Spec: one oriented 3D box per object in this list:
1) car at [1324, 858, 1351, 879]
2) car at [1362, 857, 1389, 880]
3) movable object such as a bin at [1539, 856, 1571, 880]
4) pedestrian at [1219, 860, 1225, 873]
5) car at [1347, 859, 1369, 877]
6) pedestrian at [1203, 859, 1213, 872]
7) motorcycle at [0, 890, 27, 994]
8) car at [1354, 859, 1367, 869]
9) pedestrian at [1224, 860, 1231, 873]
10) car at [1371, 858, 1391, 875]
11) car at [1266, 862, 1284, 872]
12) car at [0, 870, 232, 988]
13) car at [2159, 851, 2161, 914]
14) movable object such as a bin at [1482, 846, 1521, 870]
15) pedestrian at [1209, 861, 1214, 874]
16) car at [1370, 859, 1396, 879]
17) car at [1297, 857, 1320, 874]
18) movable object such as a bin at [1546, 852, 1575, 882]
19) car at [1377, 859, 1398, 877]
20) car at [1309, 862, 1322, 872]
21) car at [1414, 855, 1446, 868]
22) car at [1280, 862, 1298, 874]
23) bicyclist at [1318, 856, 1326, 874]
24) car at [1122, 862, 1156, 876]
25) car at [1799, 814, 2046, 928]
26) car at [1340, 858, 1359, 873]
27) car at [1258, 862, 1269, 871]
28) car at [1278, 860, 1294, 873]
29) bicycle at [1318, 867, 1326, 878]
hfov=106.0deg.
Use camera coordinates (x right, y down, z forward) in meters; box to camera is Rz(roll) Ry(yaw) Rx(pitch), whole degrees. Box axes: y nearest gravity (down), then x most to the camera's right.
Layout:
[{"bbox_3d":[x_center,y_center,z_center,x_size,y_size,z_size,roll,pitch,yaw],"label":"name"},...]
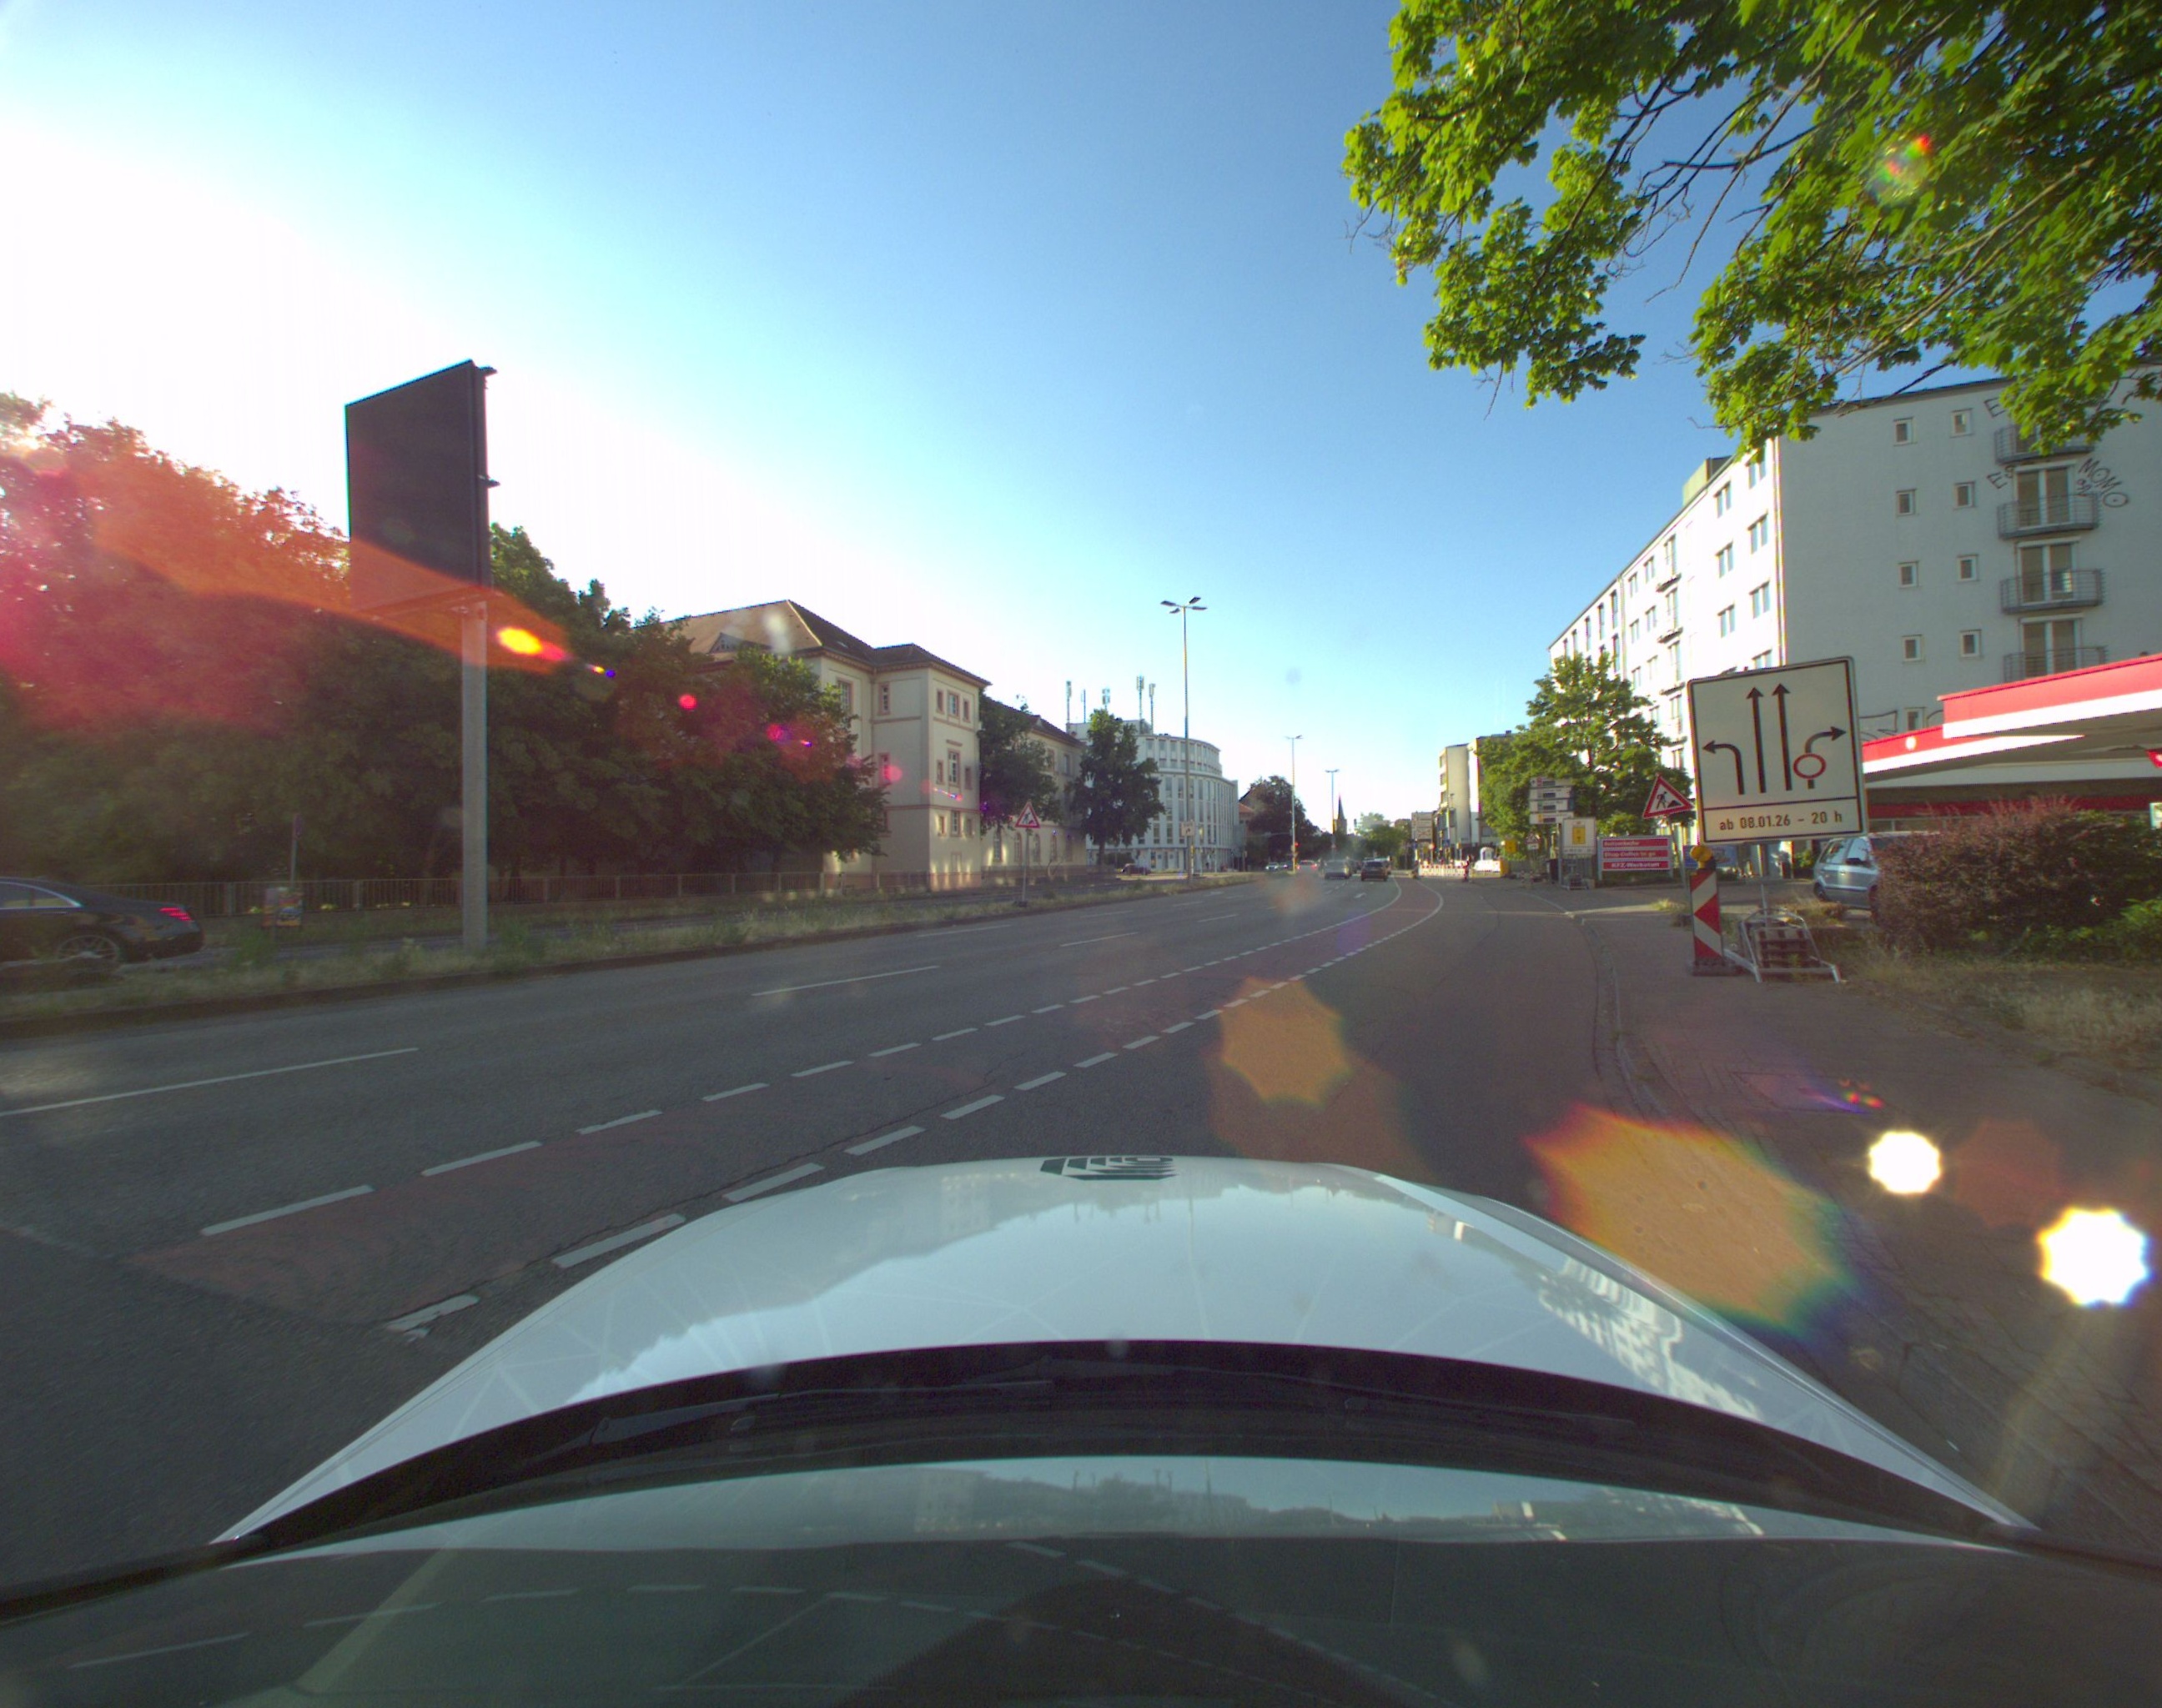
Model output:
[{"bbox_3d":[20.176,1.100,63.902,1.733,1.564,4.070,-2,-1,21],"label":"car"},{"bbox_3d":[20.763,1.016,57.352,1.733,1.564,4.070,-2,-1,21],"label":"car"},{"bbox_3d":[26.849,0.789,46.145,1.208,1.344,1.057,-1,-1,5],"label":"movable object such as a bin"},{"bbox_3d":[19.878,1.797,114.801,0.654,1.868,0.782,-2,-1,18],"label":"pedestrian"},{"bbox_3d":[24.904,1.259,73.114,1.733,1.564,4.070,-2,-1,21],"label":"car"},{"bbox_3d":[19.743,1.747,126.521,1.081,2.014,1.042,-2,-1,31],"label":"pedestrian"},{"bbox_3d":[-12.573,0.964,8.132,0.850,1.108,2.485,-2,-1,36],"label":"motorcycle"},{"bbox_3d":[41.369,1.499,120.538,1.575,1.427,3.842,-2,-1,21],"label":"car"},{"bbox_3d":[20.609,1.758,114.431,0.621,1.868,1.133,-2,-1,22],"label":"pedestrian"},{"bbox_3d":[30.175,1.267,81.917,1.804,1.640,4.019,-2,-1,19],"label":"car"},{"bbox_3d":[28.846,1.948,121.234,1.976,1.413,4.466,-2,-1,21],"label":"car"},{"bbox_3d":[-15.177,1.018,10.641,1.974,1.496,5.325,-2,-1,31],"label":"car"},{"bbox_3d":[23.981,0.619,15.396,1.986,1.354,4.002,-1,1,2],"label":"car"},{"bbox_3d":[43.429,0.454,84.116,3.301,2.383,1.536,-2,-1,19],"label":"movable object such as a bin"},{"bbox_3d":[18.683,1.905,116.252,0.656,1.859,0.780,-1,-1,8],"label":"pedestrian"},{"bbox_3d":[23.868,1.218,64.326,1.740,1.490,3.742,-3,-3,23],"label":"car"},{"bbox_3d":[20.968,1.035,75.025,1.670,1.457,4.021,-1,-1,21],"label":"car"},{"bbox_3d":[25.326,0.718,43.005,1.083,1.508,1.260,-1,-4,20],"label":"movable object such as a bin"},{"bbox_3d":[28.761,1.318,76.345,1.713,1.579,3.743,-2,-1,23],"label":"car"},{"bbox_3d":[35.506,2.019,123.242,1.833,1.461,4.068,-2,-1,17],"label":"car"},{"bbox_3d":[53.692,1.227,125.405,4.328,1.878,2.009,-1,-1,19],"label":"car"},{"bbox_3d":[29.240,1.980,114.601,1.977,1.578,4.923,-1,-1,19],"label":"car"},{"bbox_3d":[23.570,1.090,79.656,0.685,1.728,0.992,-1,-1,17],"label":"bicyclist"},{"bbox_3d":[7.285,1.839,101.909,3.778,1.530,1.871,-3,-3,17],"label":"car"},{"bbox_3d":[13.603,0.278,13.477,1.604,1.594,3.917,-2,-1,27],"label":"car"},{"bbox_3d":[27.644,1.158,83.821,1.667,1.504,3.742,-2,-1,21],"label":"car"},{"bbox_3d":[33.927,2.286,151.372,1.828,1.572,4.014,-1,-1,13],"label":"car"},{"bbox_3d":[32.785,1.987,130.415,1.825,1.816,4.021,-3,-3,23],"label":"car"},{"bbox_3d":[23.619,1.793,79.735,0.694,1.100,2.268,-1,-1,17],"label":"bicycle"}]
